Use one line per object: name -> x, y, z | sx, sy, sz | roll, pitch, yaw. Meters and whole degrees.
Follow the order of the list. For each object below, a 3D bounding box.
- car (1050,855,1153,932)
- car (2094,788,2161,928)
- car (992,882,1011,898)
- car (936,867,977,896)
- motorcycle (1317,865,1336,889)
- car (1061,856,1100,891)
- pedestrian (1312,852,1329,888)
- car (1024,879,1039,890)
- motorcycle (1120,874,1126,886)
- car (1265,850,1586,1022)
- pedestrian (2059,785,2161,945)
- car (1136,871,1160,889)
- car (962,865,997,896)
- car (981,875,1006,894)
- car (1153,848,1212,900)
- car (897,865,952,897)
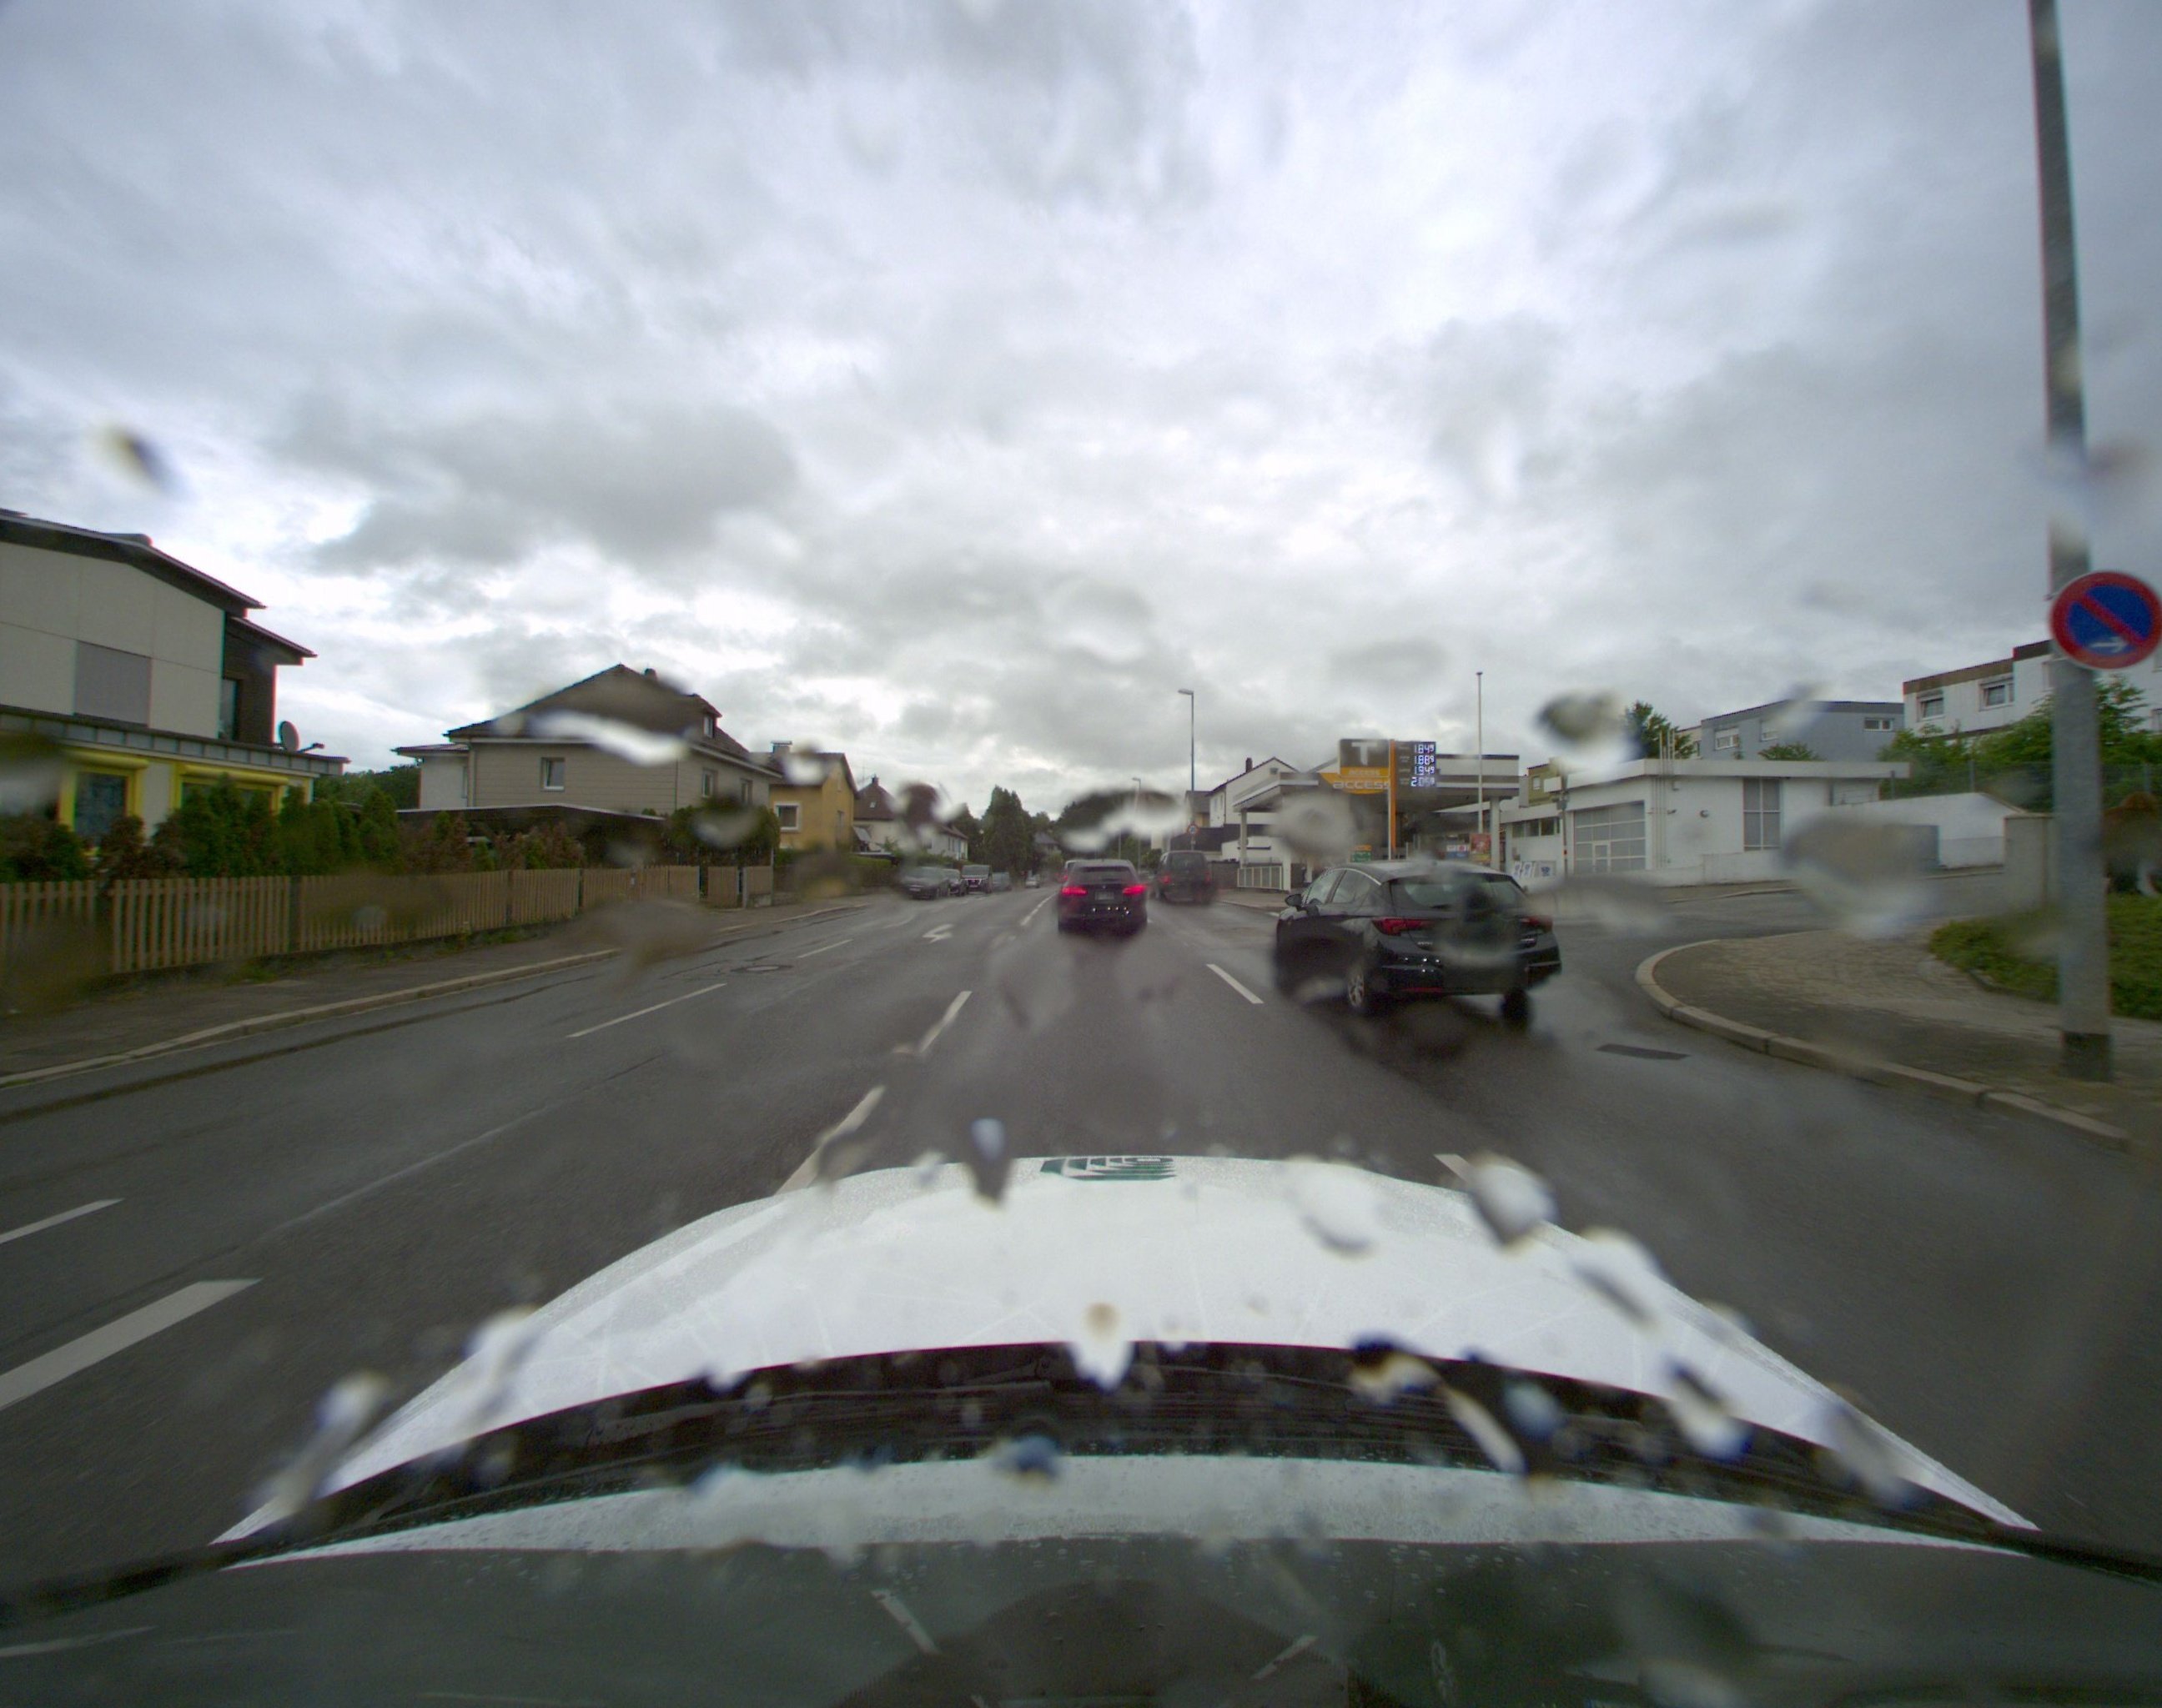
car -> 0.421, 0.835, 17.681 | 1.987, 1.484, 3.999 | 0, -2, 1
car -> 12.934, -0.066, 7.566 | 1.808, 1.527, 3.988 | -3, -2, -8
car -> -7.443, 3.372, 76.589 | 1.547, 1.431, 4.010 | 0, -2, -2
car -> -6.851, 1.541, 45.071 | 1.746, 1.517, 4.522 | 0, -2, -2
motorcycle -> 11.243, 1.072, 37.327 | 0.461, 1.055, 1.390 | 0, -2, 0
car -> -0.019, 1.068, 42.951 | 1.987, 1.738, 3.999 | 0, -2, 0
pedestrian -> 11.021, 0.727, 37.539 | 0.608, 1.656, 0.585 | 0, -3, 0
car -> -7.463, 4.611, 123.232 | 1.878, 1.585, 3.999 | 0, -2, 0
motorcycle -> 5.517, 3.439, 107.459 | 0.701, 1.509, 2.150 | -3, -2, 0
car -> 3.374, 0.719, 8.899 | 1.751, 1.449, 3.997 | 0, -1, -1
pedestrian -> 13.480, 0.142, 10.572 | 0.711, 2.014, 0.616 | 0, -3, 9
car -> 5.883, 2.304, 71.957 | 1.695, 1.510, 4.532 | 0, -2, 0
car -> -6.788, 1.790, 55.026 | 1.908, 2.003, 5.082 | 0, -2, -2
car -> -7.525, 2.630, 70.427 | 1.752, 1.533, 4.283 | 0, -2, -1
car -> 3.620, 0.772, 29.635 | 1.831, 1.767, 4.001 | 0, -2, 2
car -> -7.320, 1.291, 38.524 | 1.744, 1.440, 4.129 | 0, -2, 1
